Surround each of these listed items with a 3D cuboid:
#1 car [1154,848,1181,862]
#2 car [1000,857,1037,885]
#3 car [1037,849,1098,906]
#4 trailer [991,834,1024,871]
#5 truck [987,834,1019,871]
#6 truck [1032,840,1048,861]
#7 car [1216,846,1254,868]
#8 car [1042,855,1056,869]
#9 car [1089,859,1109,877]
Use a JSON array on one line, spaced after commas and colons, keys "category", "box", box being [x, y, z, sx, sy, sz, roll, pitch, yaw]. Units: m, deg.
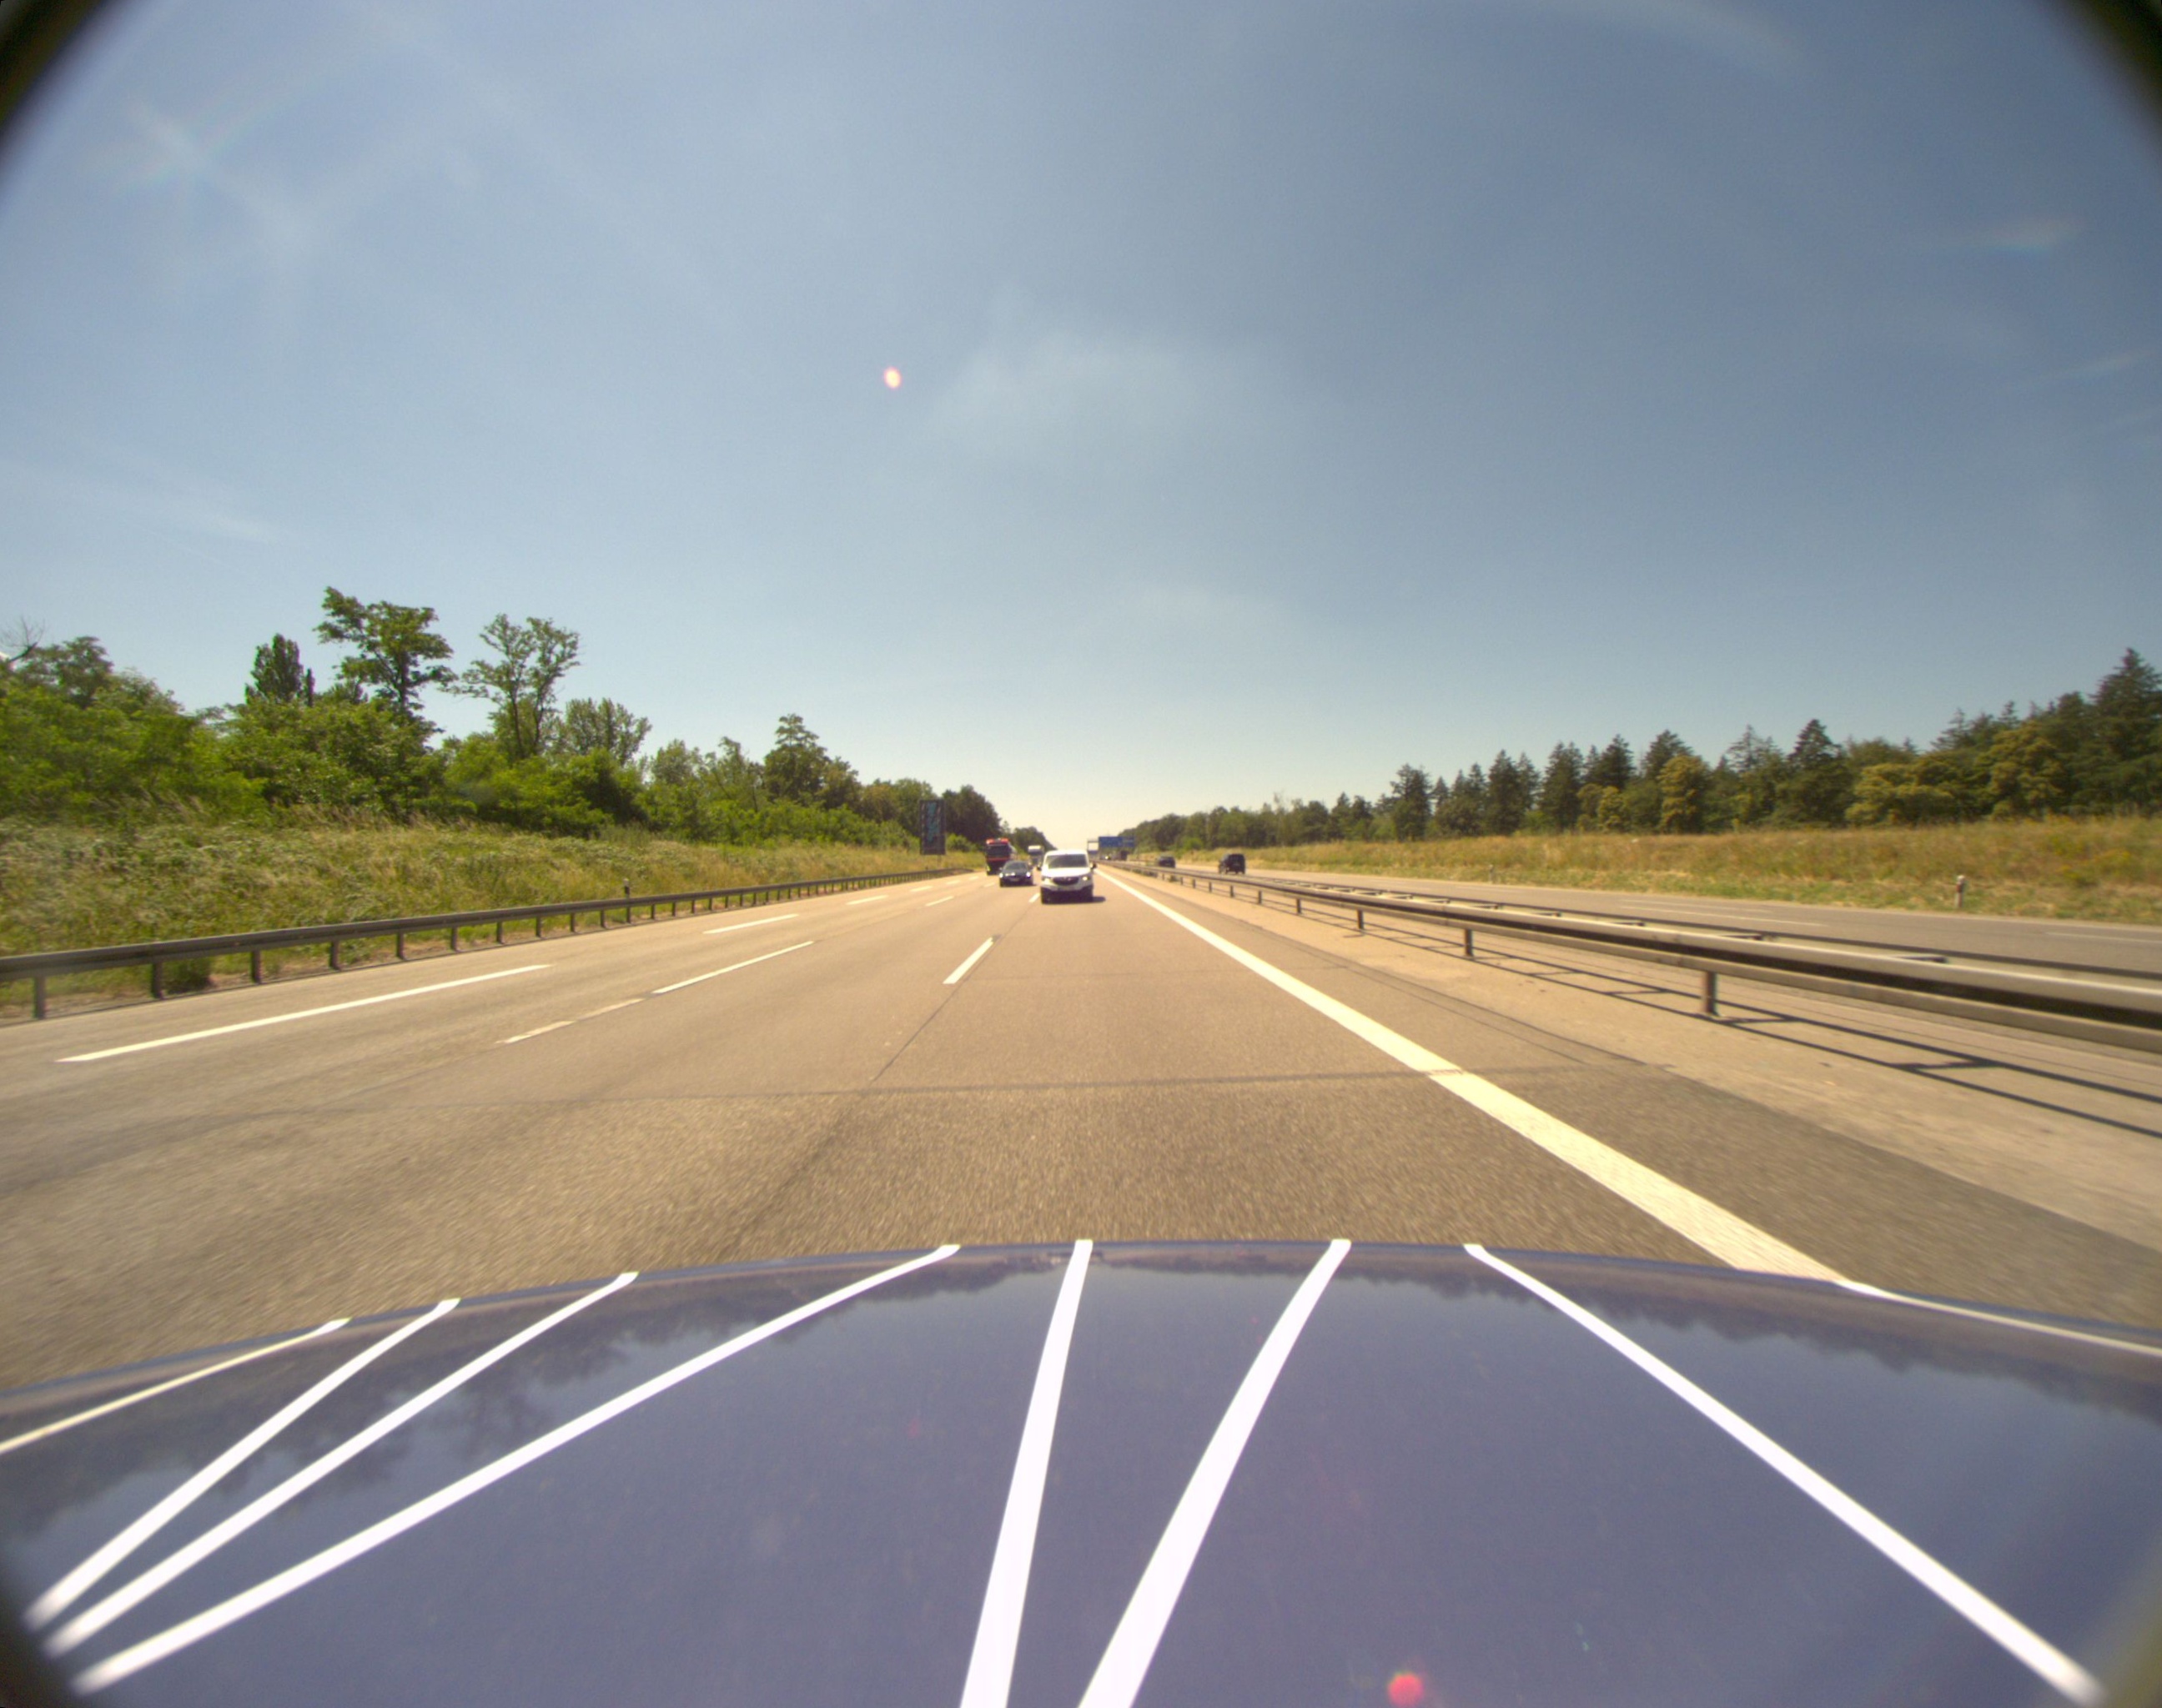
[{"category": "car", "box": [9.257, 0.102, 81.550, 2.233, 1.415, 5.298, 1, 0, -1]}, {"category": "car", "box": [-3.569, 0.955, 44.273, 1.806, 1.475, 4.271, -3, 0, -1]}, {"category": "car", "box": [-0.394, 0.755, 27.368, 1.870, 1.807, 4.941, -3, 0, 2]}, {"category": "trailer", "box": [-8.196, -0.199, 86.029, 2.535, 3.712, 11.547, -3, 0, 0]}, {"category": "truck", "box": [-8.152, -0.167, 79.727, 2.535, 3.712, 6.098, -3, 0, 0]}, {"category": "truck", "box": [-8.117, -0.711, 149.898, 2.604, 3.980, 6.173, -3, 0, 0]}, {"category": "car", "box": [13.500, 0.260, 66.877, 2.233, 1.801, 5.298, 1, 0, -1]}, {"category": "car", "box": [-4.931, 1.251, 117.530, 1.999, 2.002, 3.999, -3, 0, 0]}, {"category": "car", "box": [1.543, 1.184, 66.897, 1.581, 1.412, 3.352, -3, 0, 0]}]
